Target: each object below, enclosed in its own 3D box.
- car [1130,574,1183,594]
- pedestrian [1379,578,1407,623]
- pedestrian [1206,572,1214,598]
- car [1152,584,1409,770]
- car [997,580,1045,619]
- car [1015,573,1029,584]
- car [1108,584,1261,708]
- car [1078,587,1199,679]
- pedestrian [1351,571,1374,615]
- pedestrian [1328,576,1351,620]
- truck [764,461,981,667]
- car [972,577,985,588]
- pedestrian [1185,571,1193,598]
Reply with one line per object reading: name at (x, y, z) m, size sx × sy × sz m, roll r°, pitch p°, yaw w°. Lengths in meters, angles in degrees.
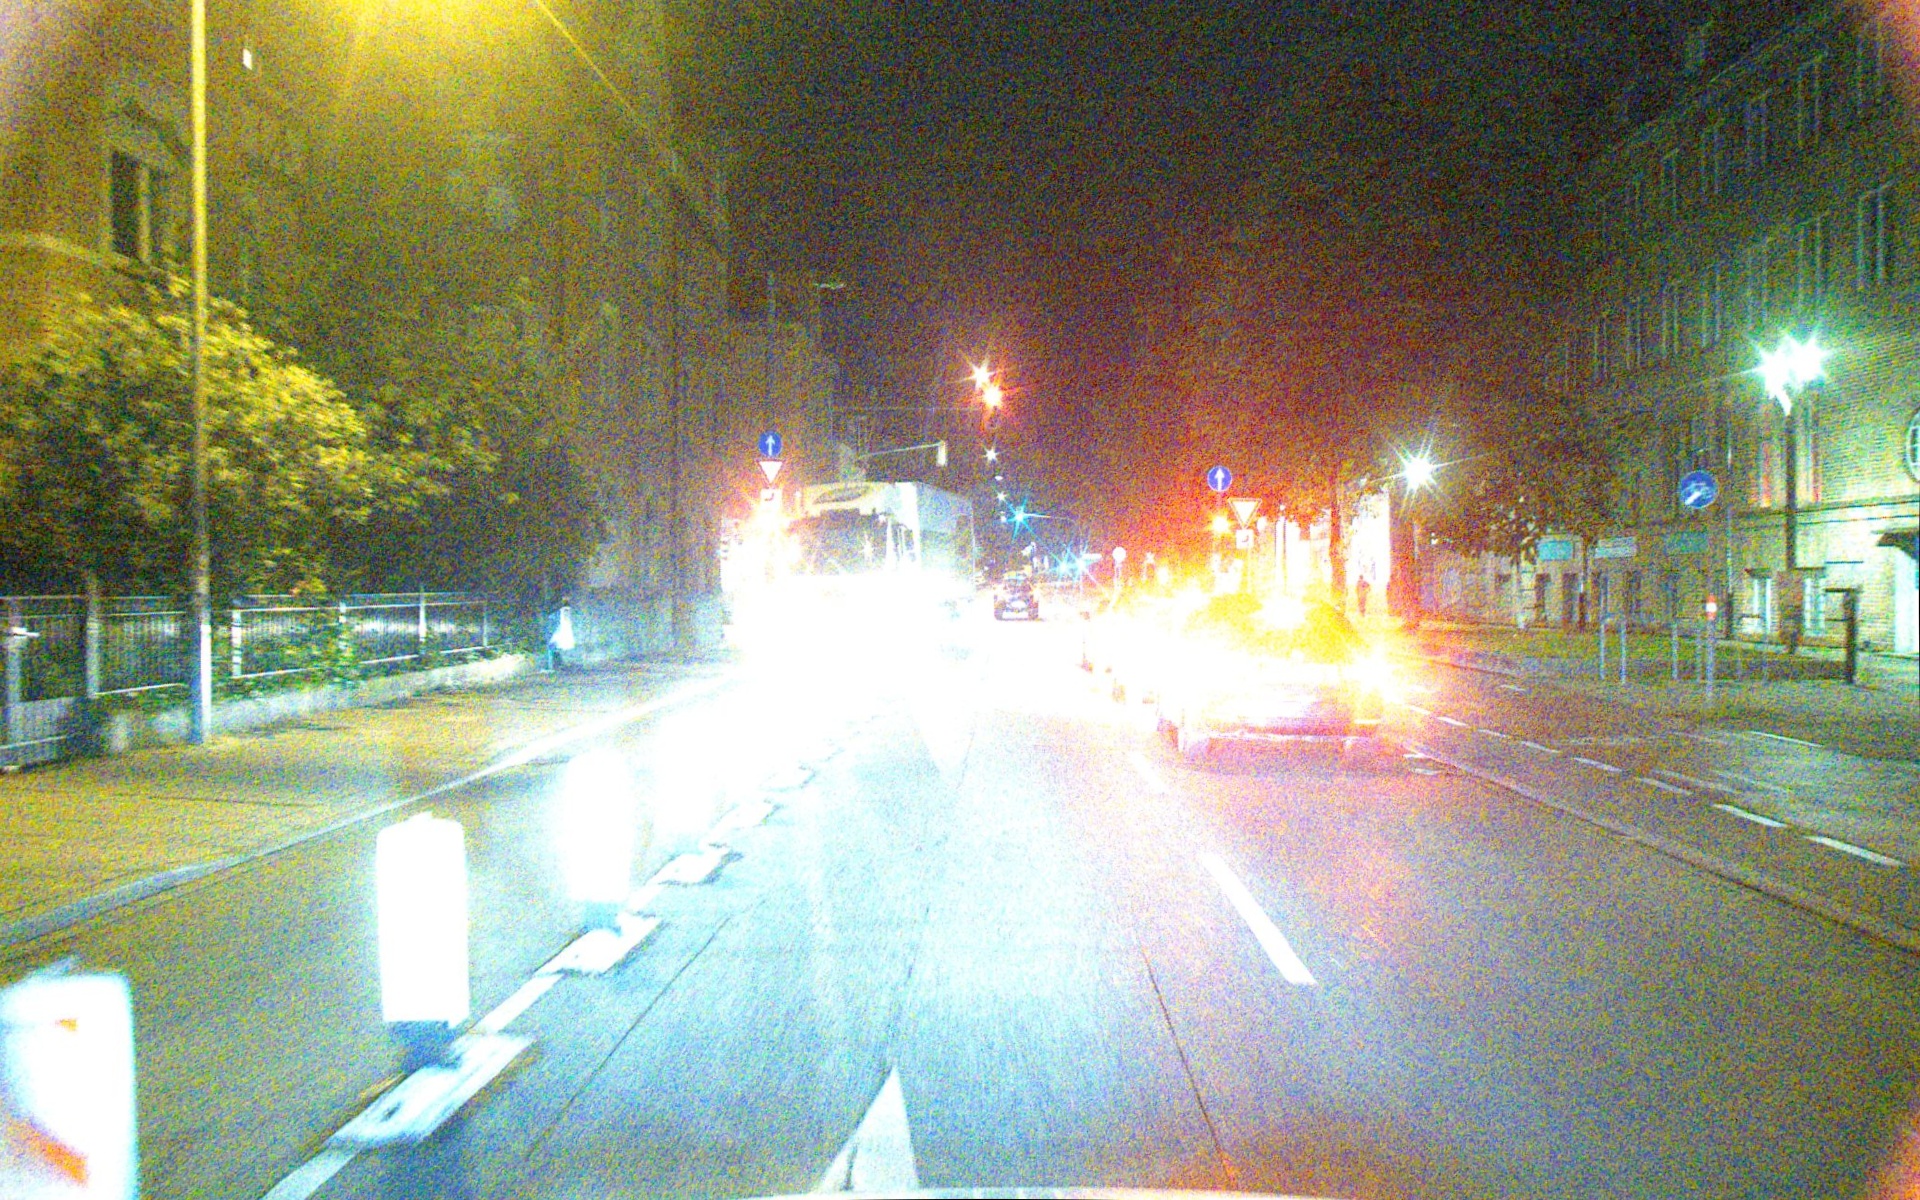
car at (14.772, -1.207, 124.638) m, size 3.903 × 1.410 × 1.772 m, roll -1°, pitch 1°, yaw 4°
pedestrian at (17.899, 0.015, 68.354) m, size 0.882 × 1.800 × 0.907 m, roll -1°, pitch 0°, yaw 1°
pedestrian at (19.273, -1.162, 127.570) m, size 0.477 × 2.049 × 0.551 m, roll -1°, pitch 0°, yaw 1°
car at (2.981, 0.633, 16.363) m, size 1.767 × 1.520 × 4.731 m, roll 2°, pitch 0°, yaw 2°
car at (2.695, -0.021, 73.589) m, size 1.953 × 1.668 × 4.000 m, roll -1°, pitch 0°, yaw 0°
car at (9.455, -3.341, 252.493) m, size 1.953 × 1.624 × 3.999 m, roll -1°, pitch 0°, yaw -1°
car at (2.988, 0.553, 22.704) m, size 1.603 × 1.520 × 4.001 m, roll 1°, pitch 1°, yaw 1°
car at (3.088, 0.530, 29.310) m, size 1.694 × 1.460 × 4.211 m, roll 1°, pitch 1°, yaw 0°
pedestrian at (16.622, -0.292, 68.262) m, size 0.723 × 1.800 × 0.907 m, roll -1°, pitch 0°, yaw 1°
pedestrian at (15.609, -0.083, 68.012) m, size 0.699 × 1.800 × 0.907 m, roll -1°, pitch 0°, yaw 1°
truck at (-1.602, -0.726, 36.169) m, size 2.696 × 3.782 × 10.122 m, roll -2°, pitch 0°, yaw 8°
car at (2.668, -2.513, 238.030) m, size 1.741 × 1.414 × 4.000 m, roll -1°, pitch 1°, yaw 0°
pedestrian at (17.656, -1.173, 127.689) m, size 0.520 × 2.049 × 0.670 m, roll -1°, pitch 0°, yaw 1°
